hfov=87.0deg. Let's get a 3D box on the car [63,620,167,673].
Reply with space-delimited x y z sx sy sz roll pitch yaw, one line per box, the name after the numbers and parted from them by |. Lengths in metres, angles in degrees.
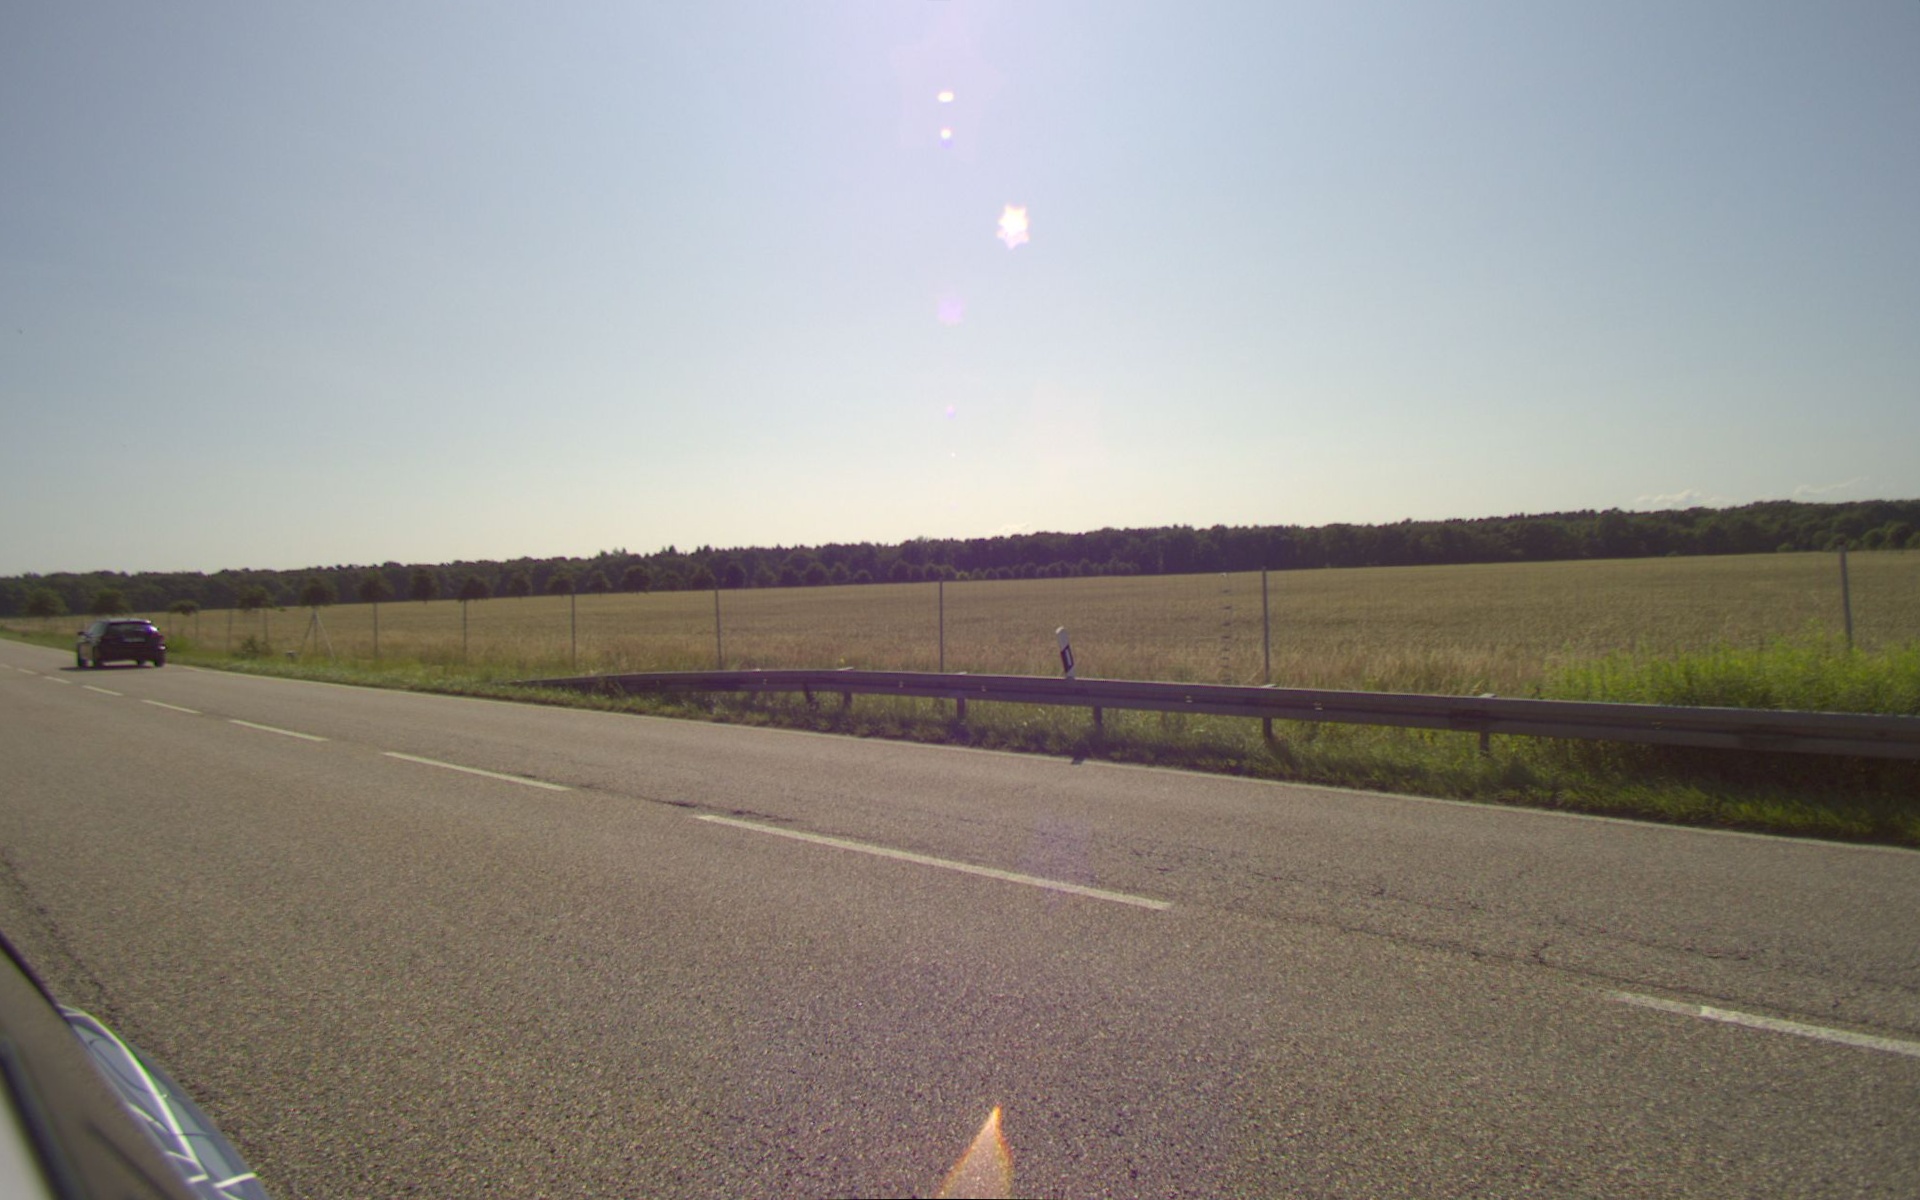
-26.612 1.420 31.834 4.159 1.519 1.810 -1 -1 40 | car
